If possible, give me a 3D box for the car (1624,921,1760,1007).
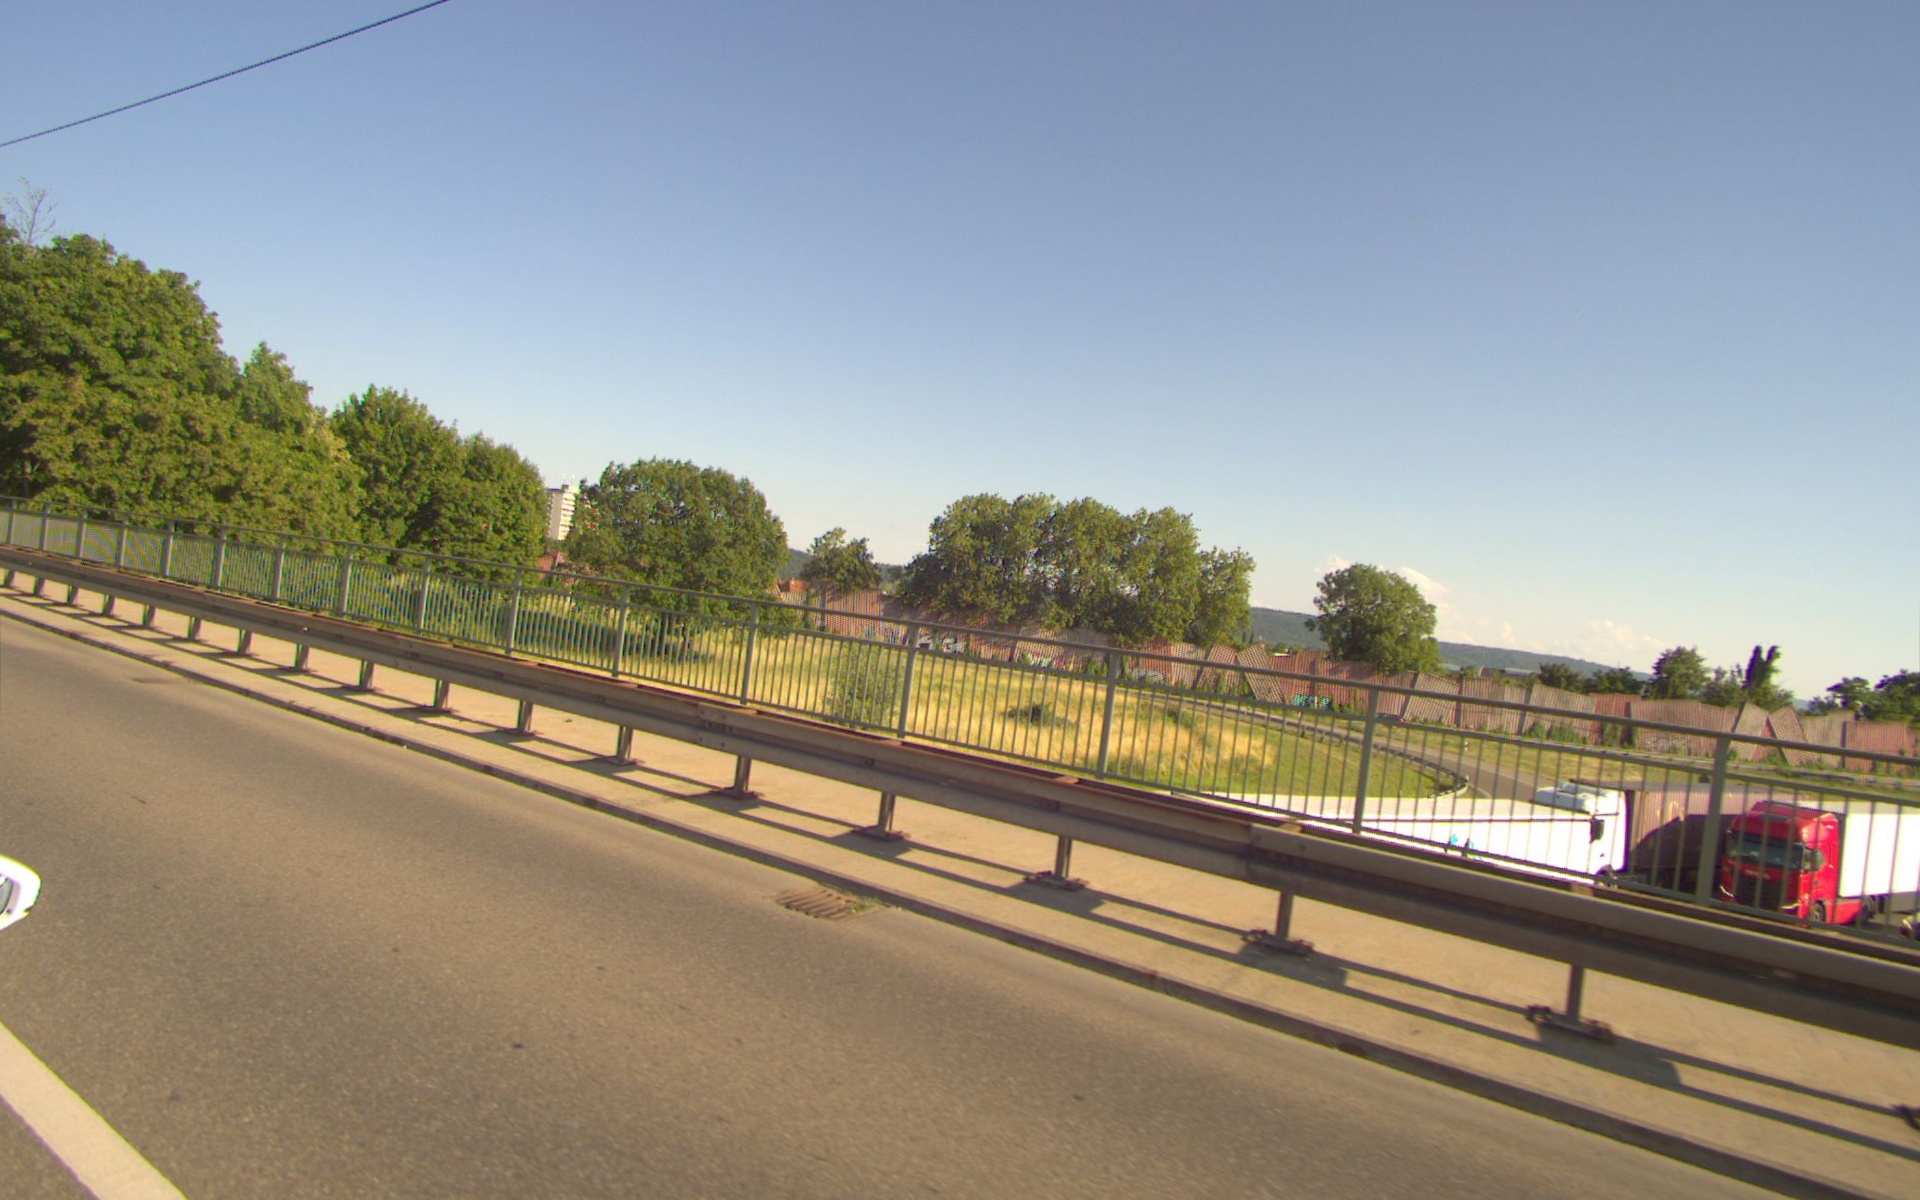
[{"bbox_3d":[19.264,9.501,26.449,3.306,1.475,1.552,6,-1,-29],"label":"car"}]

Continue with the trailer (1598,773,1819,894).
[{"bbox_3d":[31.356,9.635,41.911,11.350,4.205,2.543,7,-2,-28],"label":"trailer"}]

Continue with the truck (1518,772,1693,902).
[{"bbox_3d":[24.709,8.967,38.457,6.406,4.219,2.543,6,-2,-27],"label":"truck"}]

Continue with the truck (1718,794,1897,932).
[{"bbox_3d":[31.014,9.487,36.772,6.406,4.219,2.543,6,-2,-27],"label":"truck"}]

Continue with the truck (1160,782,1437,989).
[{"bbox_3d":[8.450,6.870,24.957,6.406,4.179,2.543,6,-2,-27],"label":"truck"}]

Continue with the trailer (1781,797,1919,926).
[{"bbox_3d":[37.415,10.259,40.147,11.839,4.205,2.543,7,-2,-28],"label":"trailer"}]

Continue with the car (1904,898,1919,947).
[{"bbox_3d":[33.973,11.082,34.250,3.304,1.475,1.553,6,-1,-27],"label":"car"}]

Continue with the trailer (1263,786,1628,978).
[{"bbox_3d":[13.642,7.509,27.691,11.350,4.115,2.543,7,-2,-28],"label":"trailer"}]
